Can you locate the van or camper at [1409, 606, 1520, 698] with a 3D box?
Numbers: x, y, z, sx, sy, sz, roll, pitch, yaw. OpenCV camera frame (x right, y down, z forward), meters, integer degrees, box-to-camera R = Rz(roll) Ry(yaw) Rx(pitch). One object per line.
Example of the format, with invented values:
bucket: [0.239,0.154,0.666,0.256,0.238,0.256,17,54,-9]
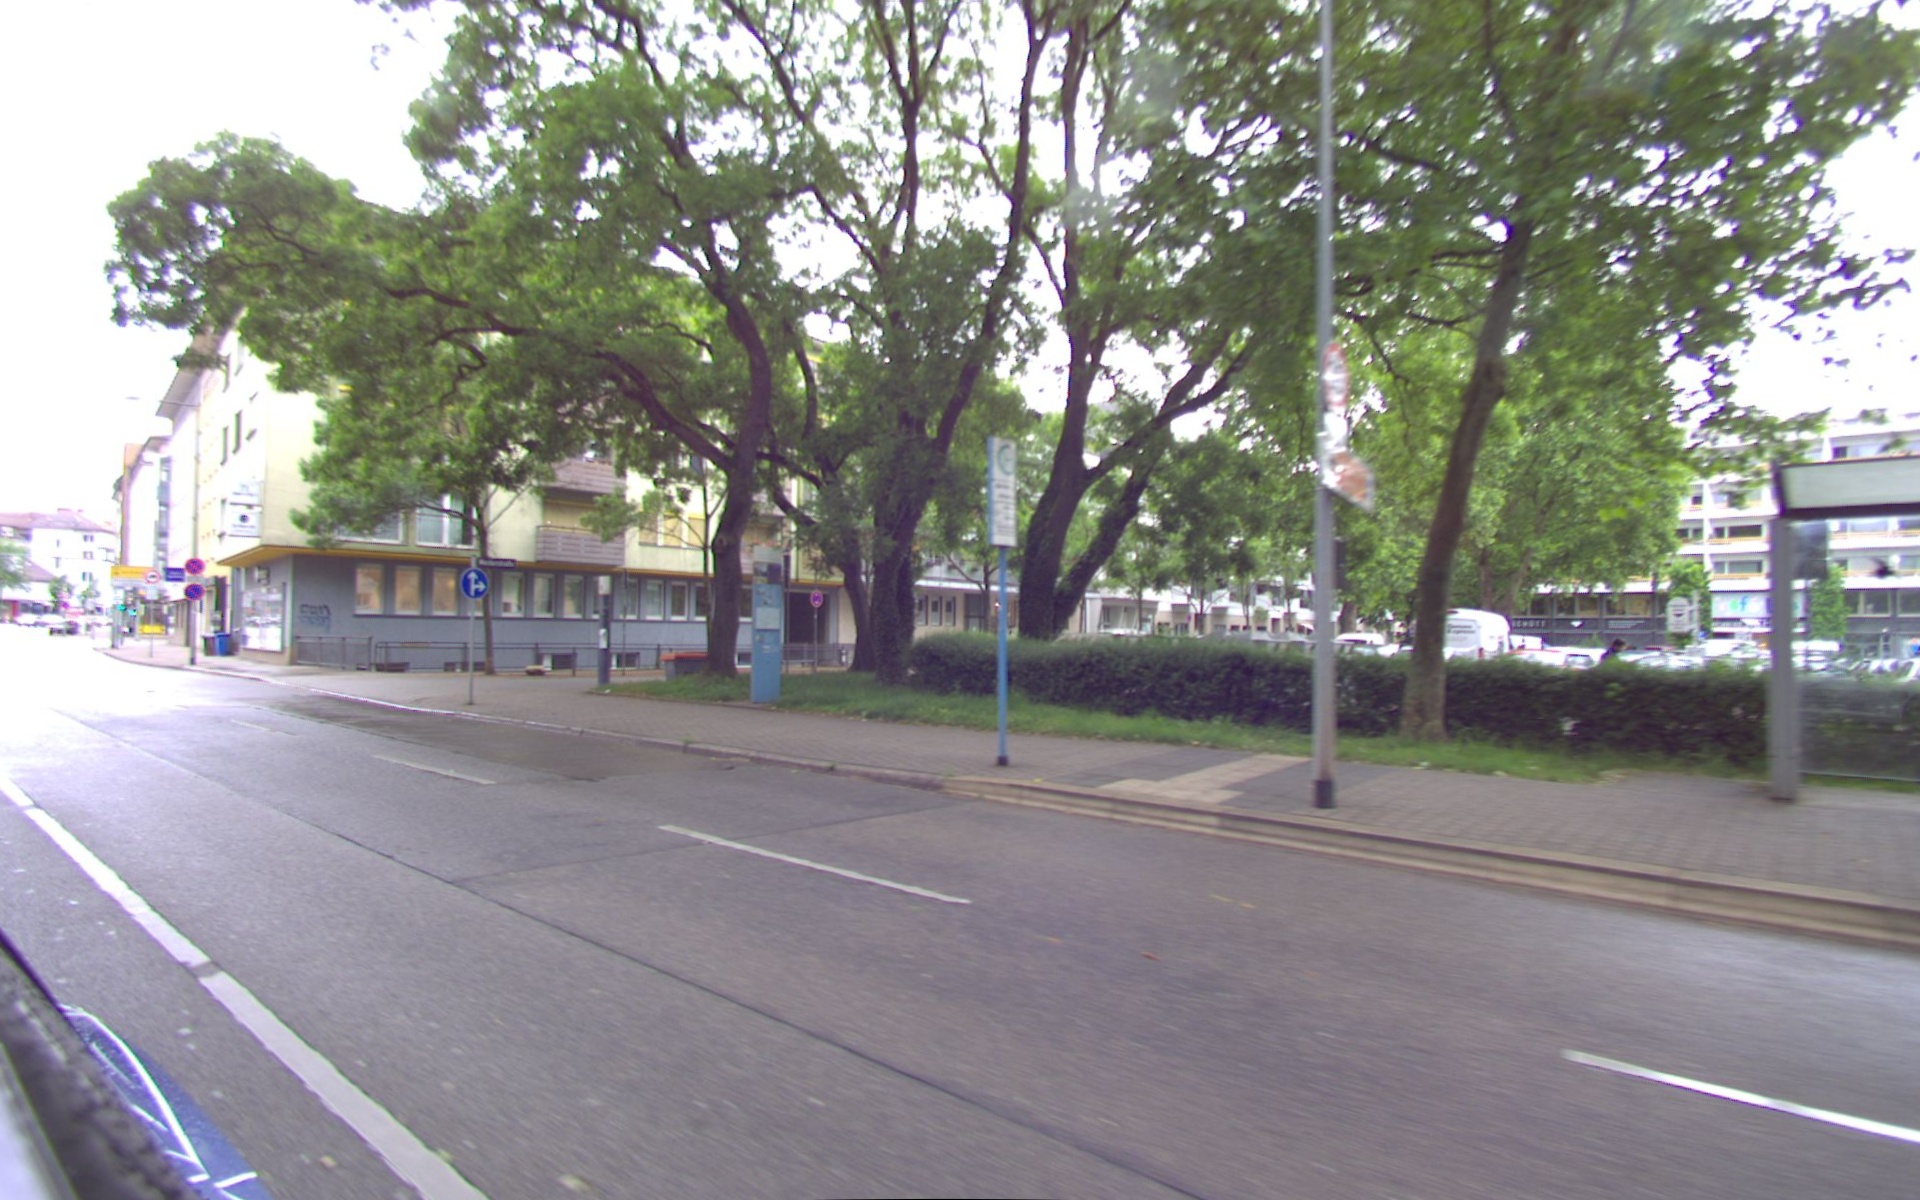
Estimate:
van or camper: [15.288,1.552,30.558,2.097,2.556,4.368,-1,-3,40]

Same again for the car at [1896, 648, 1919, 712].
car: [22.934,1.870,23.672,1.391,1.446,3.227,-1,-4,41]

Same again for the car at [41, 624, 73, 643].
car: [-83.975,3.112,94.089,4.002,1.730,1.863,-2,-4,45]

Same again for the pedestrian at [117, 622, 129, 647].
pedestrian: [-62.831,2.585,75.958,0.586,1.858,0.565,3,-4,-42]

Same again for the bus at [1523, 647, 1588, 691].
bus: [22.578,2.599,38.338,1.604,1.551,3.385,-1,-3,40]

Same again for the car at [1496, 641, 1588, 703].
car: [14.683,1.779,25.485,1.391,1.446,3.227,-1,-4,41]

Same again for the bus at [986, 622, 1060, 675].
bus: [2.518,1.881,39.401,1.703,1.939,3.697,0,-3,24]

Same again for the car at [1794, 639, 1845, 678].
car: [38.835,2.601,45.765,1.639,1.536,3.161,0,0,38]

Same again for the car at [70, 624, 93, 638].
car: [-112.234,3.948,129.338,4.002,1.670,1.842,-2,-4,45]

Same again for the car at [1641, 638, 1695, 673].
car: [34.121,2.637,48.751,1.837,1.435,3.780,0,0,39]

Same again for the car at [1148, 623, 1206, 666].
car: [10.664,2.191,49.544,1.988,2.029,3.967,0,-3,24]

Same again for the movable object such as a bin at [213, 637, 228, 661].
movable object such as a bin: [-31.577,2.099,43.214,0.409,1.037,0.354,3,-4,-42]

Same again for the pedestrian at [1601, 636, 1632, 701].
pedestrian: [12.784,1.323,19.703,0.484,1.222,0.433,-1,0,34]

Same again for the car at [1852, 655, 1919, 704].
car: [29.315,2.470,31.963,1.604,1.439,3.275,-1,-3,40]

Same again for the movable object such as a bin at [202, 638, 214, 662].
movable object such as a bin: [-31.886,2.118,42.929,0.333,1.037,0.354,3,-4,-42]

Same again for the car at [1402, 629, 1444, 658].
car: [25.650,2.394,56.049,1.428,1.439,2.926,-1,0,40]

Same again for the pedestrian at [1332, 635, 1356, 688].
pedestrian: [9.244,1.474,24.365,0.465,1.222,0.433,-1,0,34]

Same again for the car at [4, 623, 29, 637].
car: [-113.911,3.613,122.183,4.002,1.653,1.971,-2,-4,45]

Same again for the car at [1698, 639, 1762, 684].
car: [26.565,2.094,34.881,1.604,1.439,3.275,-1,-3,40]

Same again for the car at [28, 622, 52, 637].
car: [-116.013,3.707,127.615,4.002,1.866,1.971,-2,-4,45]

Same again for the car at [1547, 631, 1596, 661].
car: [30.479,2.296,50.411,1.604,1.439,3.275,-1,-3,40]

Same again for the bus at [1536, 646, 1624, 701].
bus: [17.462,2.029,28.459,1.634,1.399,3.523,-1,-3,40]

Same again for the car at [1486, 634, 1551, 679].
car: [23.925,2.408,43.292,1.815,1.787,3.884,-1,-3,38]

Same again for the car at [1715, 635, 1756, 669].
car: [40.378,2.680,52.702,1.638,1.536,3.161,-1,0,38]

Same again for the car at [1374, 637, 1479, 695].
car: [12.636,1.754,27.344,1.700,1.459,3.384,-1,-3,41]
